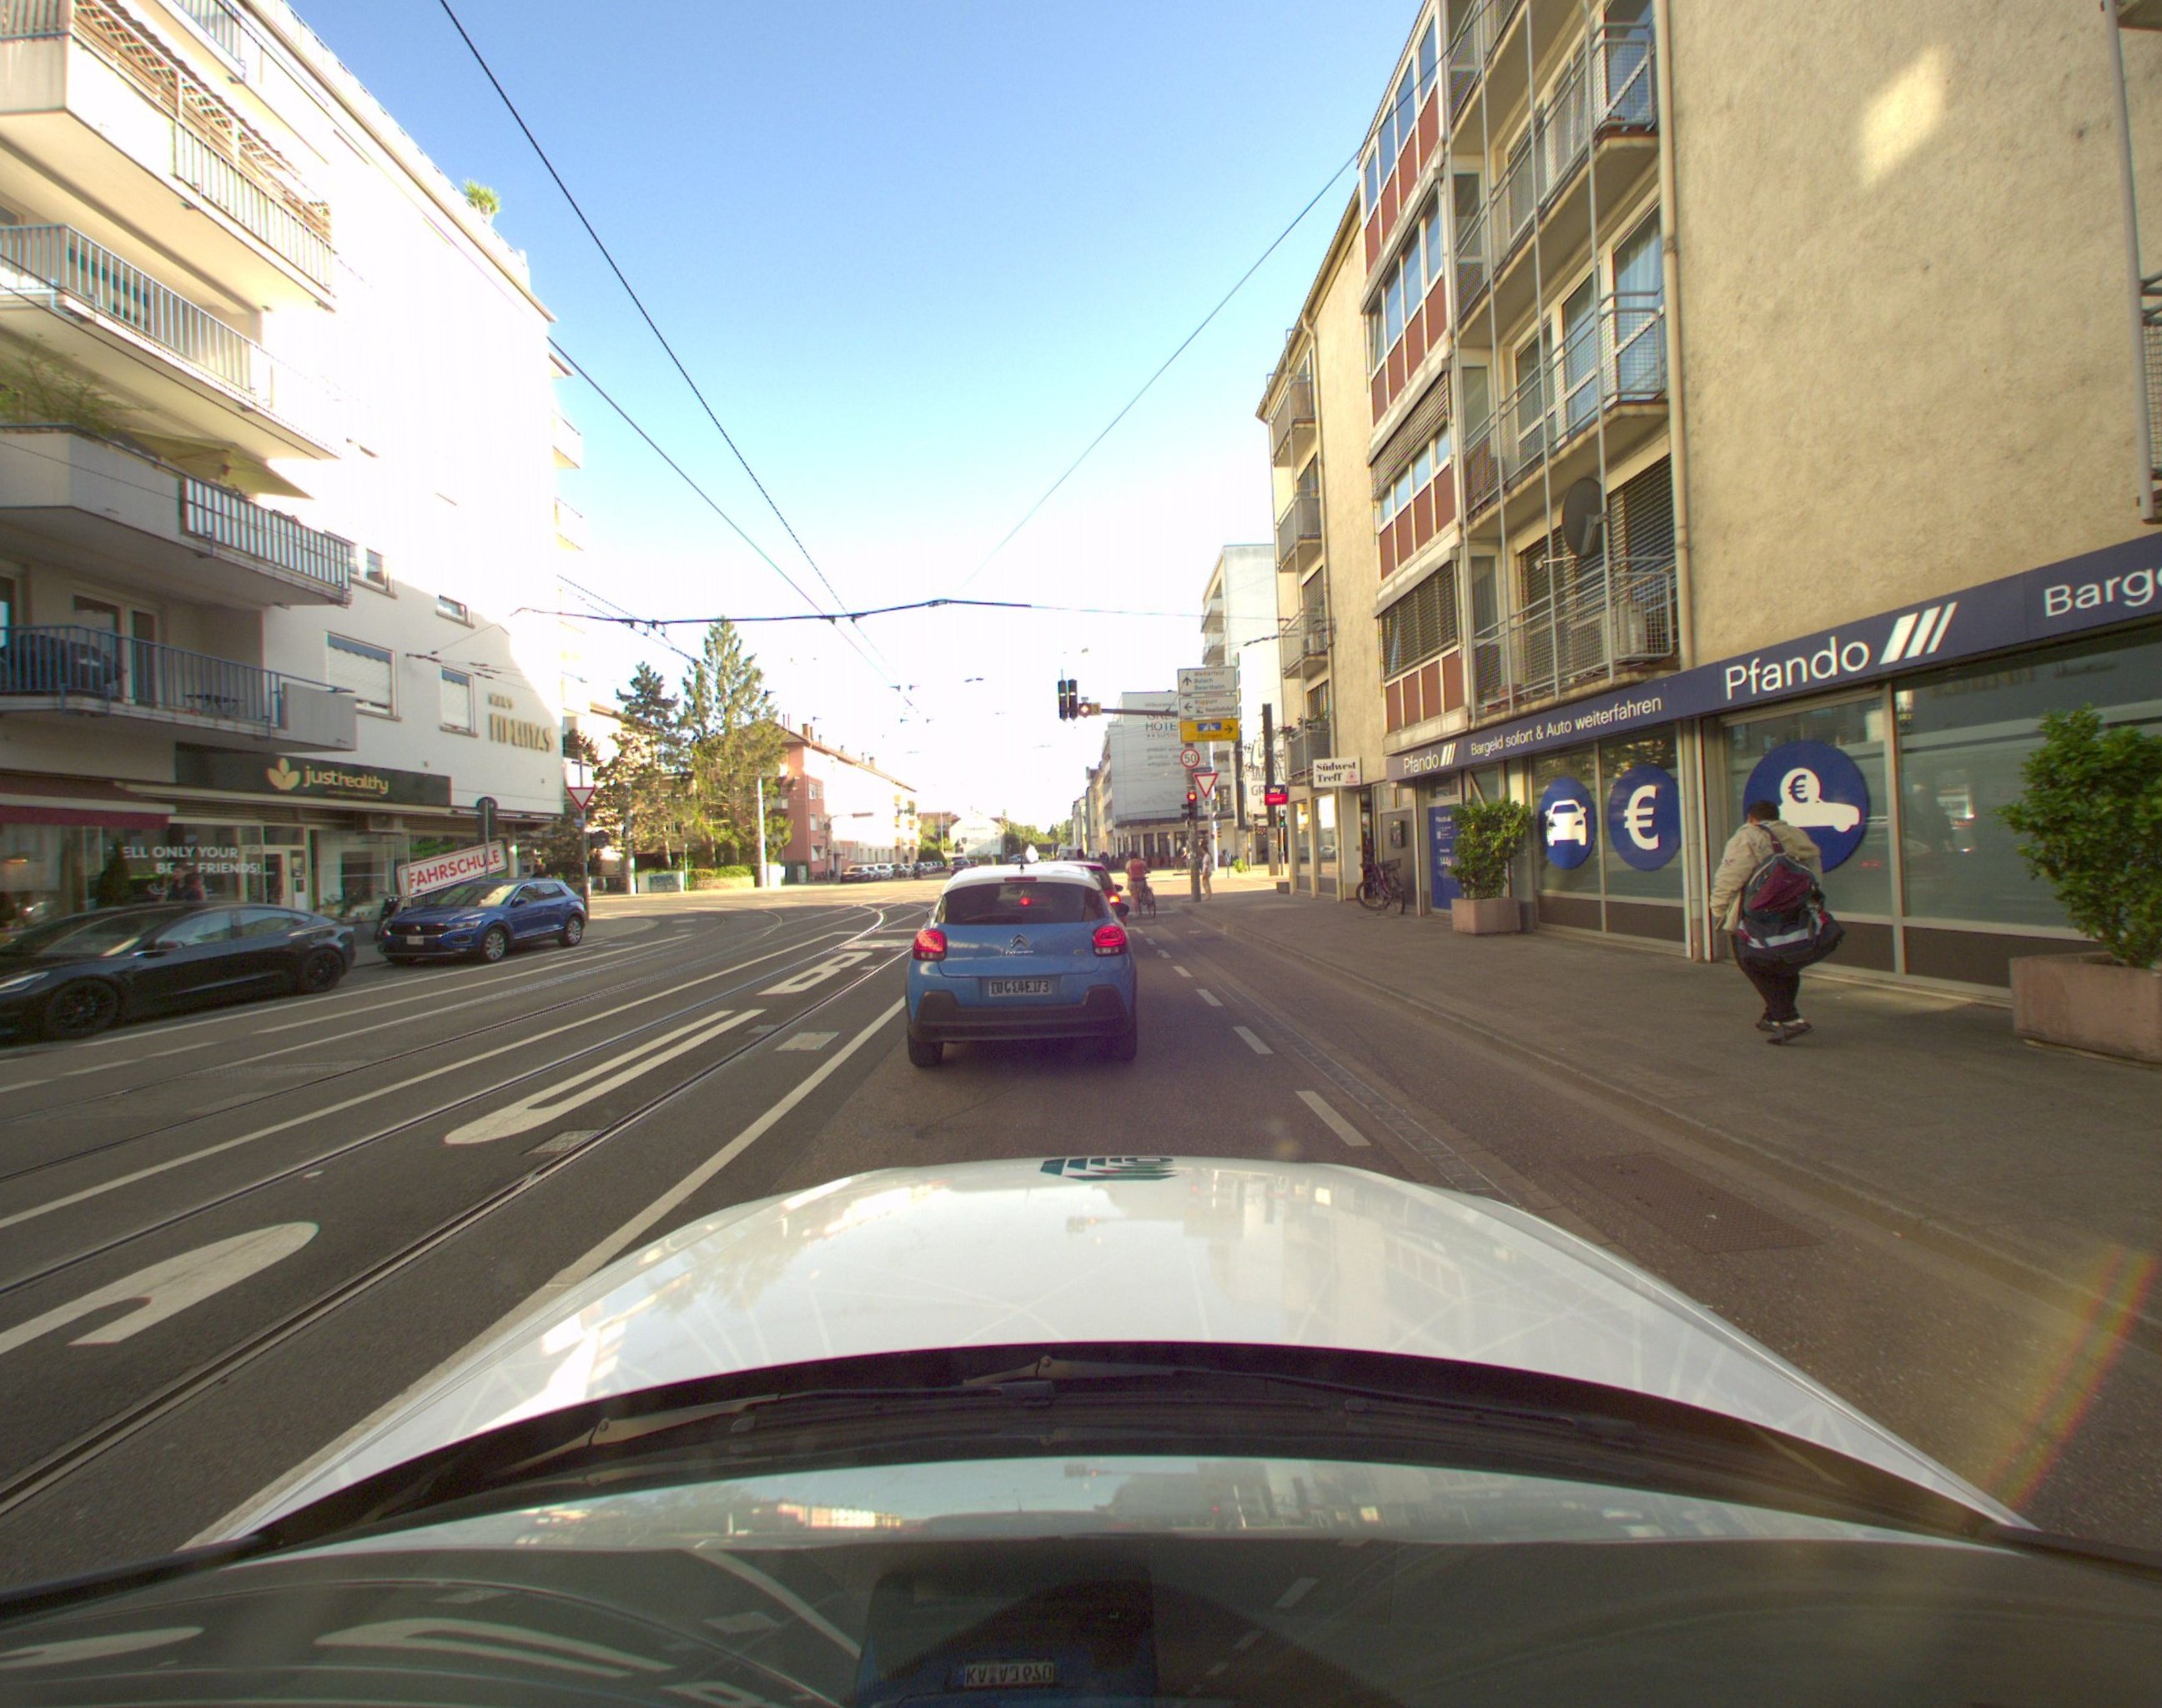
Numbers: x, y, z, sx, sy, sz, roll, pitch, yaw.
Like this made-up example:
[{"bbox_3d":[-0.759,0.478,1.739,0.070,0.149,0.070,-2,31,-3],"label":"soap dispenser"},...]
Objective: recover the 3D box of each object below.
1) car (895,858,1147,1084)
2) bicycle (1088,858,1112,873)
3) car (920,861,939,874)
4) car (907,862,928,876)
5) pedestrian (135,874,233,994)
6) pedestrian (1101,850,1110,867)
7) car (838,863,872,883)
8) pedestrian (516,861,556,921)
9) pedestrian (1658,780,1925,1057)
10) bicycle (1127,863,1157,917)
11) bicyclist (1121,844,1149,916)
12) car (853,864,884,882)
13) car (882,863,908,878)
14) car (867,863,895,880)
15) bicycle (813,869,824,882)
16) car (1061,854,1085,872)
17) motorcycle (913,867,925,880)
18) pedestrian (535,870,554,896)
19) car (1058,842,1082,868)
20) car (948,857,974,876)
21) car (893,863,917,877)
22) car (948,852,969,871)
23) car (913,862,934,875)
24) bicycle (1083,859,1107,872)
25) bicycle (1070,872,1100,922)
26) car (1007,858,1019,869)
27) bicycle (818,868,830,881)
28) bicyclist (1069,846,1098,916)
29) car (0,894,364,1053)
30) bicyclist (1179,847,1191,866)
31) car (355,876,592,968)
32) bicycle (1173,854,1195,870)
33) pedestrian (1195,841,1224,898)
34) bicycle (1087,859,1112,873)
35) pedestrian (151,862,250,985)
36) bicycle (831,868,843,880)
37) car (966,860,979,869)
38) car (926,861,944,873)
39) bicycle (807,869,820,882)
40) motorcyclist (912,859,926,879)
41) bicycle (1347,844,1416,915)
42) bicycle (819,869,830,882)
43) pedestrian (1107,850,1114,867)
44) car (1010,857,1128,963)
[{"bbox_3d":[-0.449,0.793,7.492,1.675,1.462,3.997,-1,0,-2],"label":"car"},{"bbox_3d":[1.522,0.931,65.928,1.901,1.064,0.641,-2,0,-6],"label":"bicycle"},{"bbox_3d":[-20.290,1.771,109.322,1.947,1.519,3.995,-2,0,-4],"label":"car"},{"bbox_3d":[-19.844,1.784,99.019,1.947,1.519,3.995,-2,0,-4],"label":"car"},{"bbox_3d":[-13.423,1.174,12.208,0.601,1.708,0.730,-2,0,-1],"label":"pedestrian"},{"bbox_3d":[2.110,0.397,70.372,0.520,1.420,0.550,-3,0,22],"label":"pedestrian"},{"bbox_3d":[-19.284,1.600,69.614,1.947,1.519,3.995,-2,0,-4],"label":"car"},{"bbox_3d":[-17.308,1.173,25.888,0.761,1.834,0.725,-3,0,28],"label":"pedestrian"},{"bbox_3d":[4.506,0.377,5.243,0.871,1.571,0.868,-4,0,-1],"label":"pedestrian"},{"bbox_3d":[1.536,0.889,20.719,0.611,1.264,1.911,-2,0,2],"label":"bicycle"},{"bbox_3d":[1.372,0.635,20.686,0.598,1.746,1.084,-2,0,2],"label":"bicyclist"},{"bbox_3d":[-19.564,1.717,75.237,1.947,1.519,4.040,-2,0,-4],"label":"car"},{"bbox_3d":[-19.722,1.738,86.522,1.947,1.519,3.995,-2,0,-4],"label":"car"},{"bbox_3d":[-19.553,1.684,79.849,1.947,1.519,3.995,-2,0,-4],"label":"car"},{"bbox_3d":[-21.968,1.794,68.181,0.537,1.082,1.905,-2,0,-9],"label":"bicycle"},{"bbox_3d":[-0.709,0.743,67.979,1.783,1.359,3.909,-2,0,-4],"label":"car"},{"bbox_3d":[-13.478,1.597,67.754,0.751,0.976,2.092,-2,0,-7],"label":"motorcycle"},{"bbox_3d":[-36.745,1.999,55.772,0.805,1.702,0.681,-2,0,1],"label":"pedestrian"},{"bbox_3d":[-1.032,0.087,73.440,2.074,2.269,5.647,-1,0,-2],"label":"car"},{"bbox_3d":[-11.368,1.159,77.371,2.002,1.627,5.044,-2,0,-5],"label":"car"},{"bbox_3d":[-19.974,1.789,92.590,1.947,1.519,3.995,-2,0,-4],"label":"car"},{"bbox_3d":[-18.117,1.102,120.570,2.489,2.712,5.828,-2,0,-5],"label":"car"},{"bbox_3d":[-20.089,1.799,104.033,1.947,1.519,3.995,-2,0,-4],"label":"car"},{"bbox_3d":[1.166,0.954,68.437,1.901,1.064,0.641,-2,0,-6],"label":"bicycle"},{"bbox_3d":[0.080,1.024,19.858,0.615,1.103,1.884,-2,0,-2],"label":"bicycle"},{"bbox_3d":[-14.254,1.976,171.405,2.333,2.039,5.044,-2,0,-4],"label":"car"},{"bbox_3d":[-23.043,1.842,73.101,0.536,1.082,1.908,-2,0,-4],"label":"bicycle"},{"bbox_3d":[0.050,0.648,19.756,0.615,1.630,0.759,-2,0,-2],"label":"bicyclist"},{"bbox_3d":[-11.981,1.333,10.416,1.720,1.403,4.486,0,0,-2],"label":"car"},{"bbox_3d":[7.719,0.184,60.349,0.721,1.434,0.608,-3,0,15],"label":"bicyclist"},{"bbox_3d":[-11.875,1.246,16.319,1.720,1.505,4.113,0,0,-2],"label":"car"},{"bbox_3d":[7.636,0.589,60.382,1.478,1.091,0.608,-3,0,14],"label":"bicycle"},{"bbox_3d":[3.834,0.456,24.342,0.747,1.635,0.742,-2,0,7],"label":"pedestrian"},{"bbox_3d":[1.531,0.962,67.234,1.901,1.064,0.641,-2,0,-6],"label":"bicycle"},{"bbox_3d":[-13.901,1.072,12.882,0.668,1.857,0.753,-2,0,-2],"label":"pedestrian"},{"bbox_3d":[-22.710,1.860,75.797,0.608,1.082,1.908,-2,0,-4],"label":"bicycle"},{"bbox_3d":[-19.327,1.814,145.238,1.947,1.519,3.995,-2,0,-4],"label":"car"},{"bbox_3d":[-20.716,1.850,115.678,1.947,1.519,3.995,-2,0,-4],"label":"car"},{"bbox_3d":[-22.374,1.793,68.072,0.640,1.082,1.905,-2,0,-9],"label":"bicycle"},{"bbox_3d":[-13.468,1.270,67.687,0.990,1.631,0.737,-2,0,-7],"label":"motorcyclist"},{"bbox_3d":[5.762,0.460,15.732,0.637,1.264,1.911,-2,0,2],"label":"bicycle"},{"bbox_3d":[-21.590,1.793,68.466,0.537,1.082,1.905,-2,0,-9],"label":"bicycle"},{"bbox_3d":[2.530,0.381,70.110,0.467,1.420,0.524,-2,0,-11],"label":"pedestrian"},{"bbox_3d":[-0.223,0.813,13.701,1.675,1.462,3.997,-1,0,-2],"label":"car"}]
